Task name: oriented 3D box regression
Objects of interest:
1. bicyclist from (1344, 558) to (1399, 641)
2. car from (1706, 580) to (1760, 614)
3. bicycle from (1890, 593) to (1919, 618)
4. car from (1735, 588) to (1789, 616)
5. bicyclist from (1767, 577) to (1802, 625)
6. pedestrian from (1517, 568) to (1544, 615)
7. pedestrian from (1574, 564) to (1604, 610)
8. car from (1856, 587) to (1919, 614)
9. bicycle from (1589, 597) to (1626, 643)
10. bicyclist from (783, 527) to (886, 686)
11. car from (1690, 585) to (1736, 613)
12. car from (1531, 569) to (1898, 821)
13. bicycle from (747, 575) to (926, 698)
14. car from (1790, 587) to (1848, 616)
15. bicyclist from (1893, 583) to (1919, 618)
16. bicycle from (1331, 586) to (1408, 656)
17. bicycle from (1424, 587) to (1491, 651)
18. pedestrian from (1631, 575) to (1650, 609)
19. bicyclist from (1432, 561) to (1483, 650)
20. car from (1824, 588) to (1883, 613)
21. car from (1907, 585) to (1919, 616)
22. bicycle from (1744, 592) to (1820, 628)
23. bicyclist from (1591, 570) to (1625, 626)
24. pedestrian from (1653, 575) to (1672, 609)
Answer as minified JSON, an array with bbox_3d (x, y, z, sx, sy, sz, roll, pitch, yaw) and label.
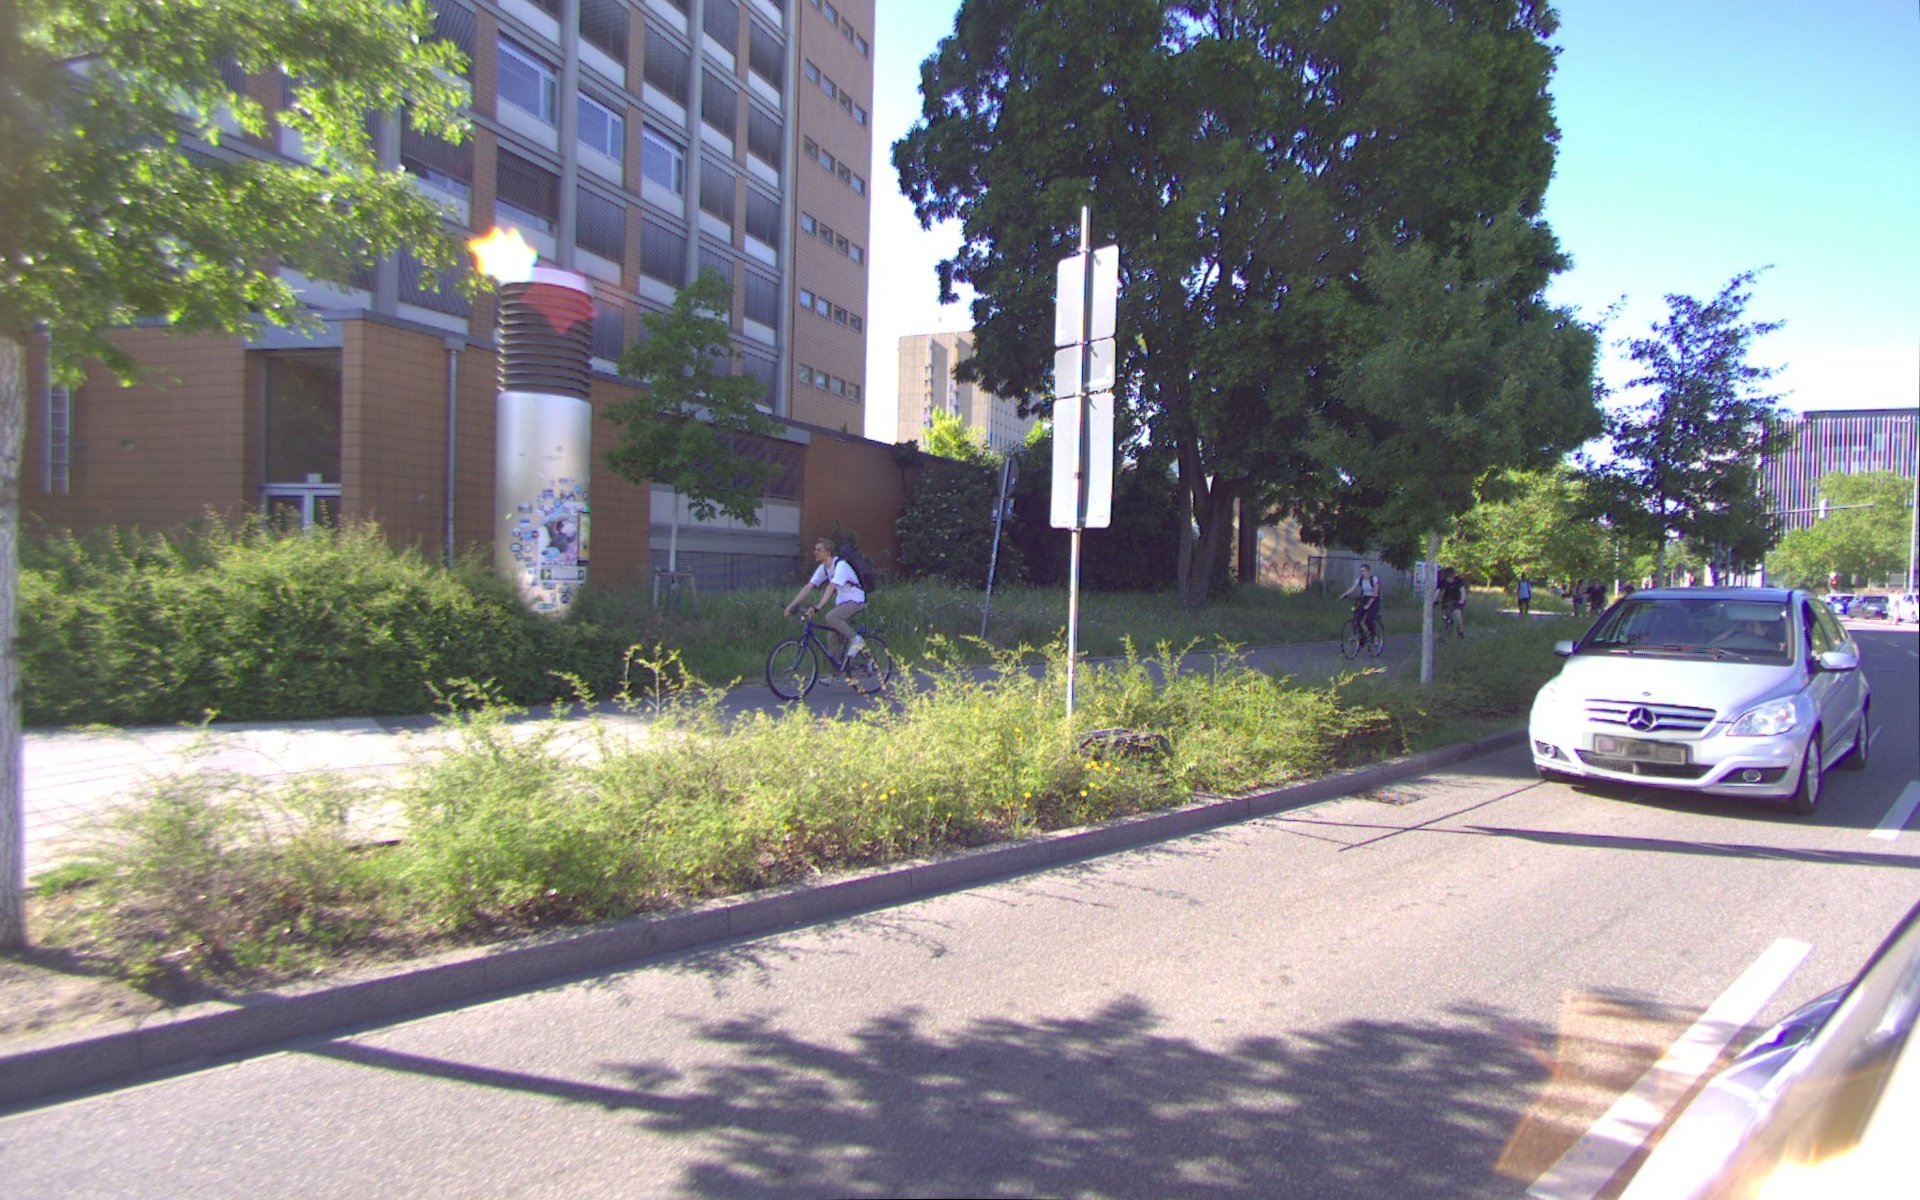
[{"bbox_3d":[7.537,-0.024,18.538,0.641,1.462,0.764,5,3,43],"label":"bicyclist"},{"bbox_3d":[47.554,-0.217,62.333,1.922,1.977,4.709,1,1,29],"label":"car"},{"bbox_3d":[47.420,0.274,50.680,0.741,1.179,1.853,2,3,27],"label":"bicycle"},{"bbox_3d":[44.323,0.083,55.999,1.690,1.460,3.959,1,1,29],"label":"car"},{"bbox_3d":[29.677,0.022,36.422,0.768,1.684,0.778,2,0,25],"label":"bicyclist"},{"bbox_3d":[20.717,-0.305,36.761,0.669,1.664,0.732,2,-1,17],"label":"pedestrian"},{"bbox_3d":[23.087,-0.479,37.155,0.666,1.664,0.734,2,-1,6],"label":"pedestrian"},{"bbox_3d":[55.862,0.022,60.879,1.966,1.574,4.676,1,1,29],"label":"car"},{"bbox_3d":[17.532,0.515,27.395,0.640,1.180,1.843,0,1,39],"label":"bicycle"},{"bbox_3d":[-1.348,0.053,10.886,0.630,1.614,0.819,6,4,43],"label":"bicyclist"},{"bbox_3d":[51.558,-0.088,69.351,1.922,1.822,4.316,1,1,29],"label":"car"},{"bbox_3d":[6.653,0.621,8.706,4.560,1.614,1.768,1,-1,-43],"label":"car"},{"bbox_3d":[-1.302,0.350,10.984,0.641,1.179,1.926,6,4,43],"label":"bicycle"},{"bbox_3d":[48.342,0.051,57.045,1.986,1.487,3.952,2,2,33],"label":"car"},{"bbox_3d":[47.373,0.023,50.591,0.739,1.705,0.969,2,3,27],"label":"bicyclist"},{"bbox_3d":[7.531,0.357,18.565,0.641,1.179,1.841,5,4,43],"label":"bicycle"},{"bbox_3d":[9.651,0.348,19.602,0.641,1.179,1.841,3,2,43],"label":"bicycle"},{"bbox_3d":[37.351,-0.439,55.557,0.729,1.804,0.724,1,-1,43],"label":"pedestrian"},{"bbox_3d":[9.614,0.100,19.555,0.641,1.666,0.764,2,1,43],"label":"bicyclist"},{"bbox_3d":[59.449,-0.014,67.409,1.966,1.574,4.676,1,1,29],"label":"car"},{"bbox_3d":[51.469,0.031,52.931,1.774,1.645,4.272,1,1,29],"label":"car"},{"bbox_3d":[29.592,0.355,36.464,1.948,1.179,0.772,2,1,26],"label":"bicycle"},{"bbox_3d":[17.549,-0.059,27.394,0.640,1.462,0.939,1,1,40],"label":"bicyclist"},{"bbox_3d":[38.012,-0.431,54.756,0.729,1.839,0.724,1,-1,43],"label":"pedestrian"}]
